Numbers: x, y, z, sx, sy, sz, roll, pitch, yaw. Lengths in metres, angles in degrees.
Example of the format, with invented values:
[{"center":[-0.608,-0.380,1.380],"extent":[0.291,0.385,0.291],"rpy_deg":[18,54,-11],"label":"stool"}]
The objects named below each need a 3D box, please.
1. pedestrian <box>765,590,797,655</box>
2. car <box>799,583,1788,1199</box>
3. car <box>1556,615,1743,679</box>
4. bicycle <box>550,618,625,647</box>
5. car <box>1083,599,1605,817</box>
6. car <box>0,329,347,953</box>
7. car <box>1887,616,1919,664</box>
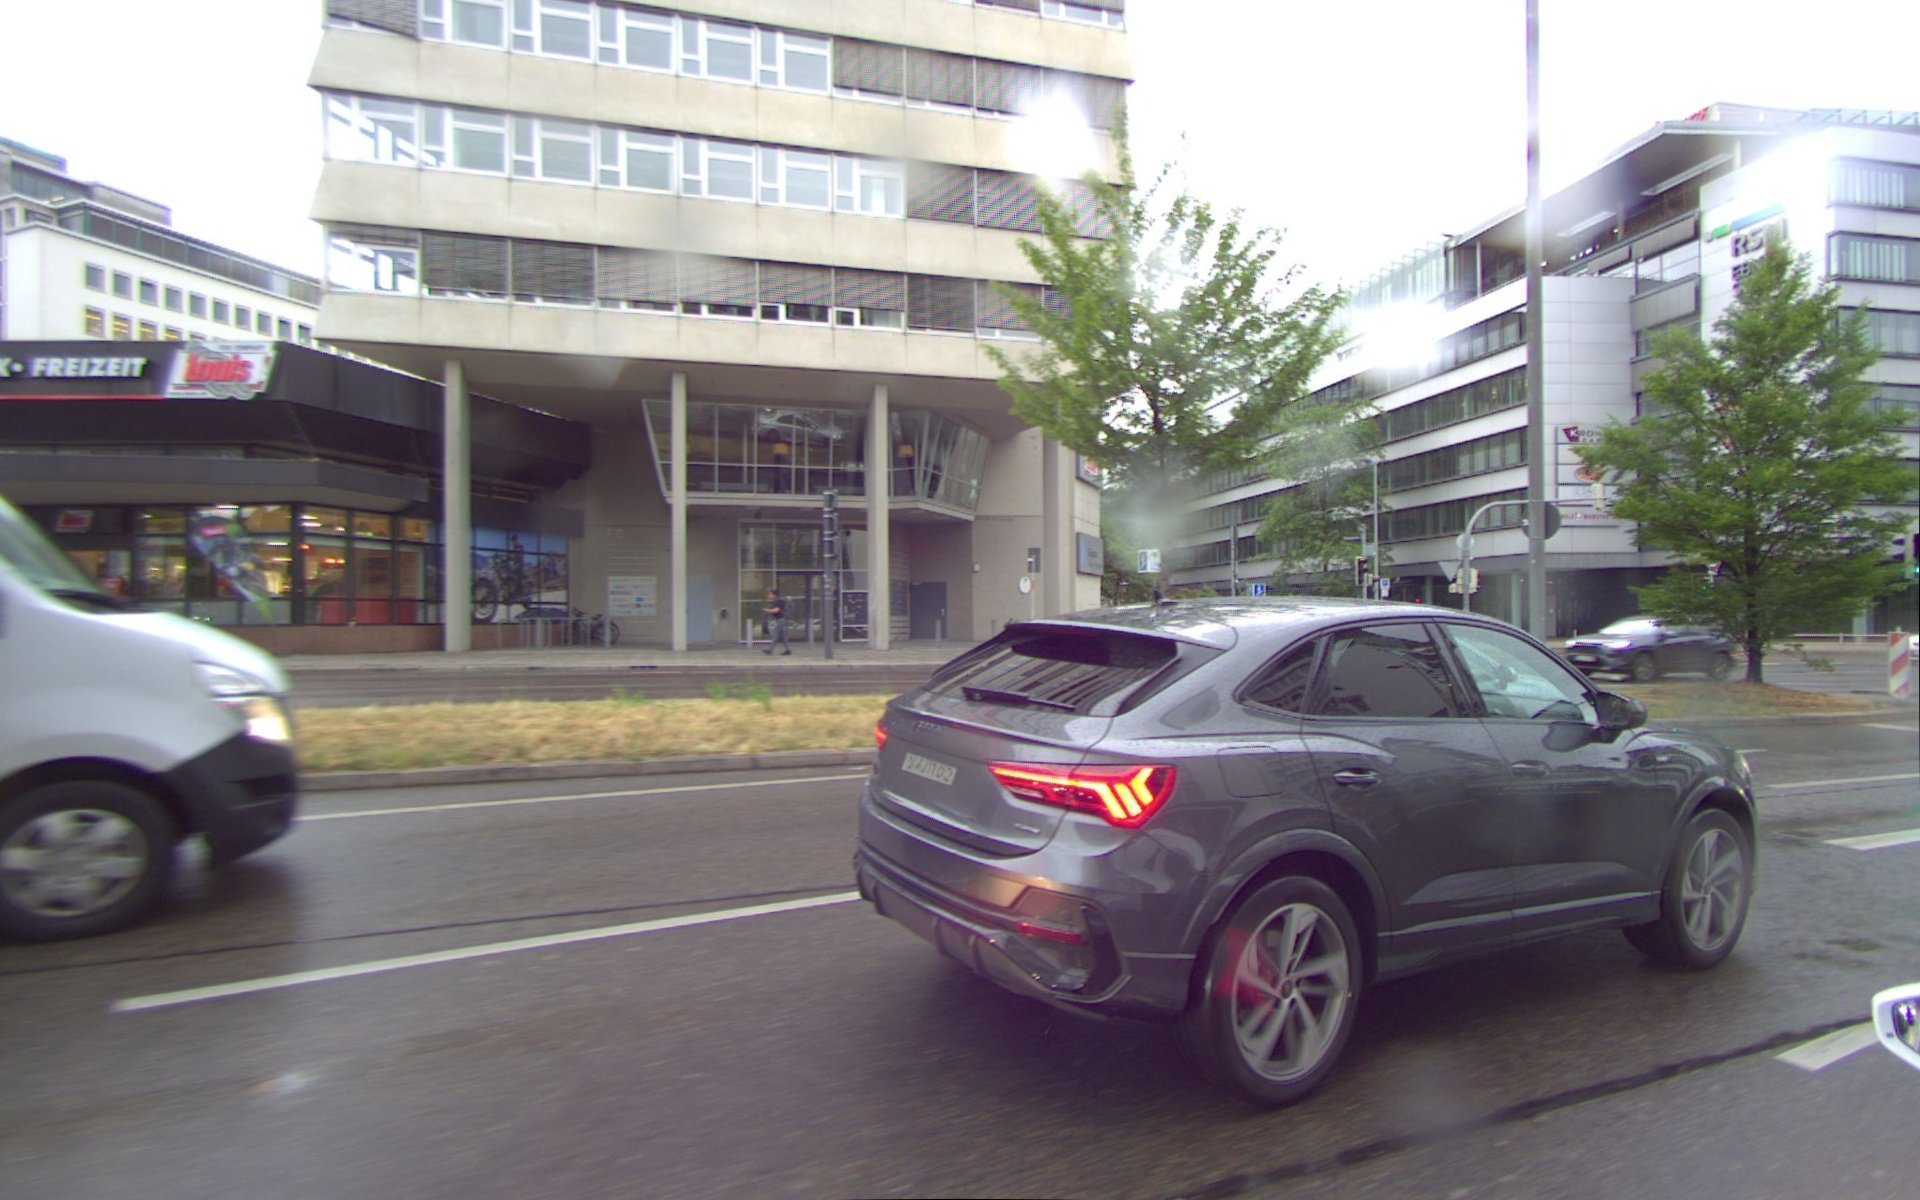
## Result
[{"center":[-4.785,0.602,26.845],"extent":[0.751,1.706,0.677],"rpy_deg":[1,0,-18],"label":"pedestrian"},{"center":[1.608,0.763,4.262],"extent":[4.223,1.542,1.640],"rpy_deg":[1,0,-31],"label":"car"},{"center":[17.815,1.203,25.989],"extent":[4.080,1.556,1.645],"rpy_deg":[1,0,-13],"label":"car"},{"center":[-11.798,1.045,31.864],"extent":[2.167,0.871,0.456],"rpy_deg":[2,0,-33],"label":"bicycle"},{"center":[3.599,0.826,9.196],"extent":[4.719,1.554,1.857],"rpy_deg":[1,0,-29],"label":"car"},{"center":[-5.603,0.127,3.792],"extent":[5.431,2.473,1.931],"rpy_deg":[1,0,-38],"label":"car"},{"center":[34.216,1.434,34.582],"extent":[3.656,1.592,1.639],"rpy_deg":[2,0,-15],"label":"car"}]
